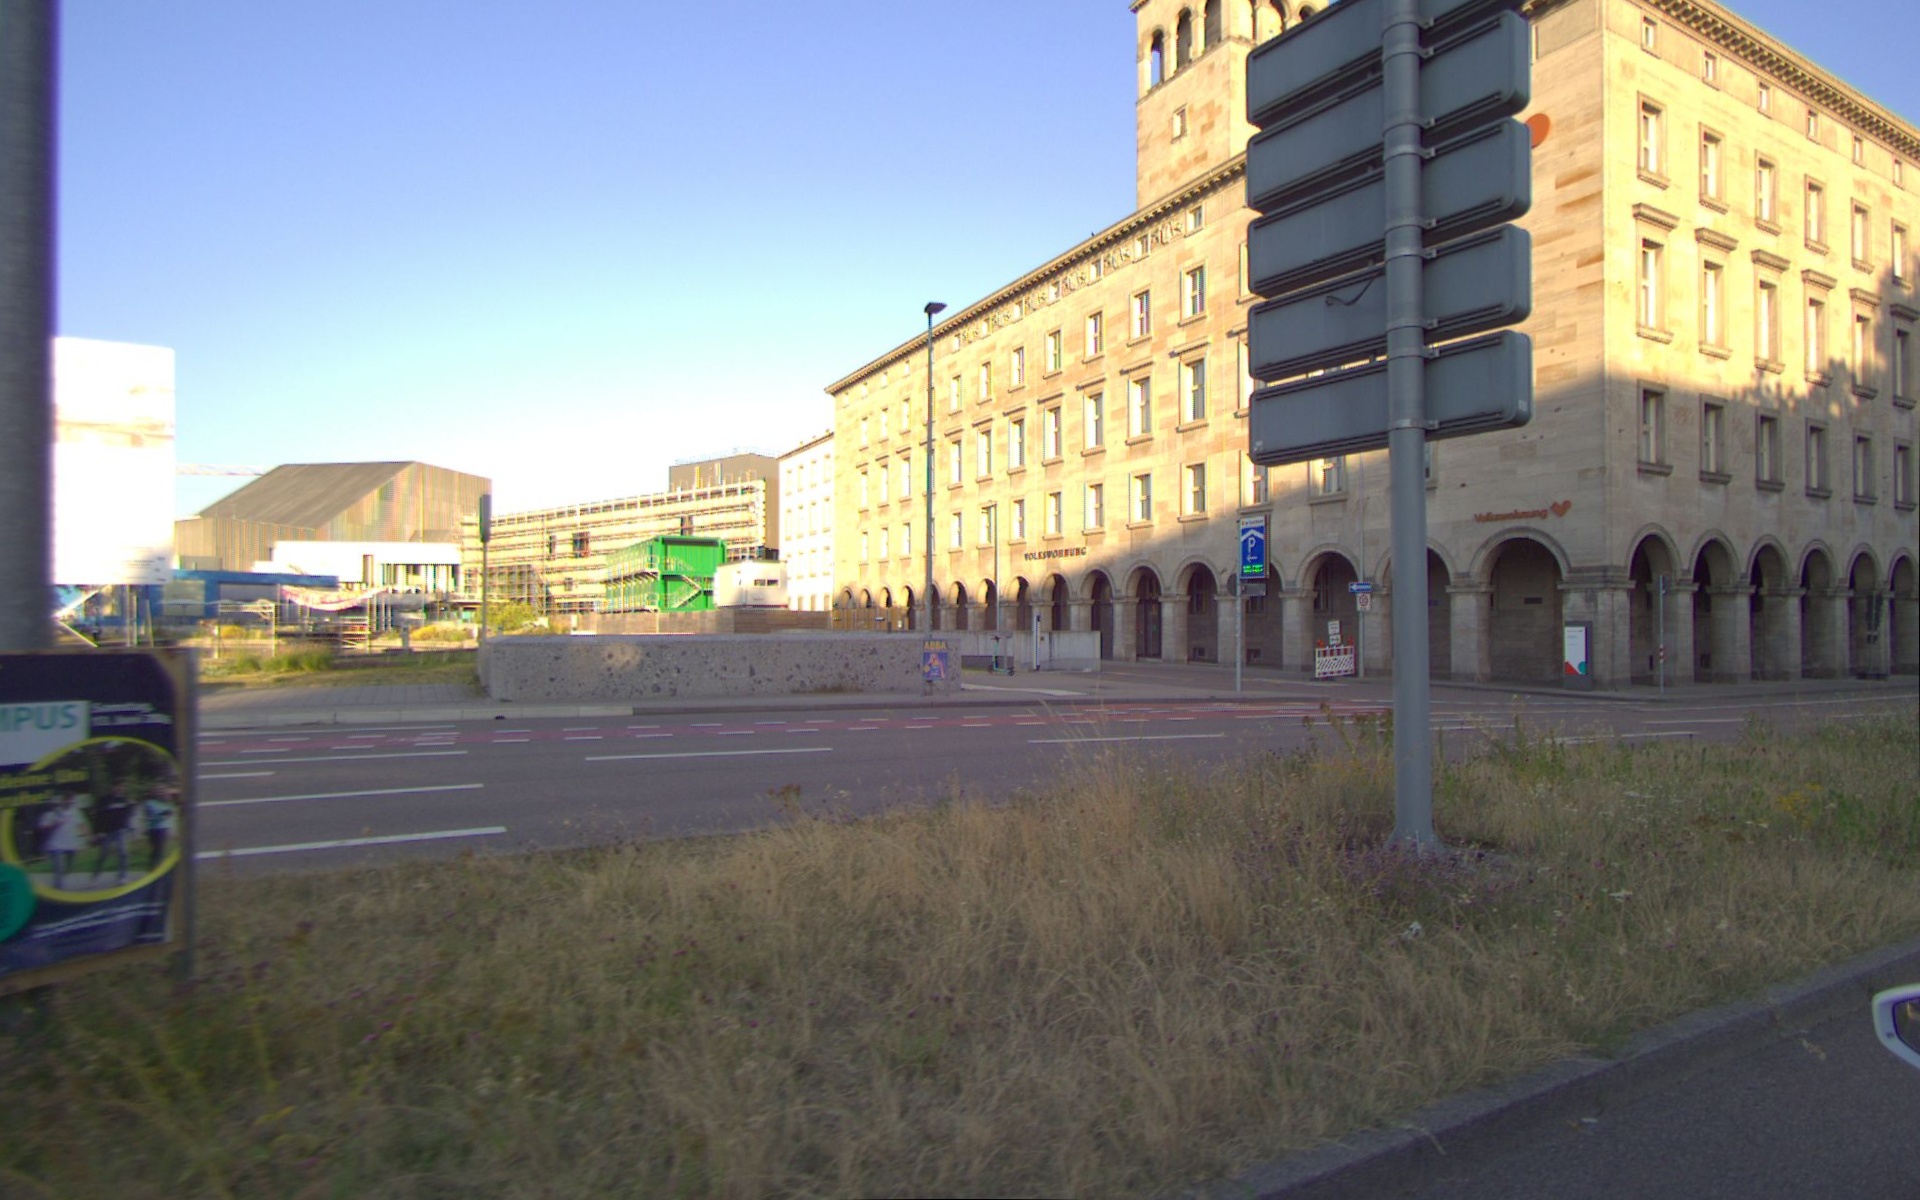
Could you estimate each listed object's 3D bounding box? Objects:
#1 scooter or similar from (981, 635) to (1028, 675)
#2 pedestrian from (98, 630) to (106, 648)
[{"bbox_3d":[1.450,1.784,32.804,1.544,1.240,0.543,-1,-2,42],"label":"scooter or similar"},{"bbox_3d":[-66.082,3.011,77.355,0.567,1.426,0.381,-1,-2,40],"label":"pedestrian"}]
